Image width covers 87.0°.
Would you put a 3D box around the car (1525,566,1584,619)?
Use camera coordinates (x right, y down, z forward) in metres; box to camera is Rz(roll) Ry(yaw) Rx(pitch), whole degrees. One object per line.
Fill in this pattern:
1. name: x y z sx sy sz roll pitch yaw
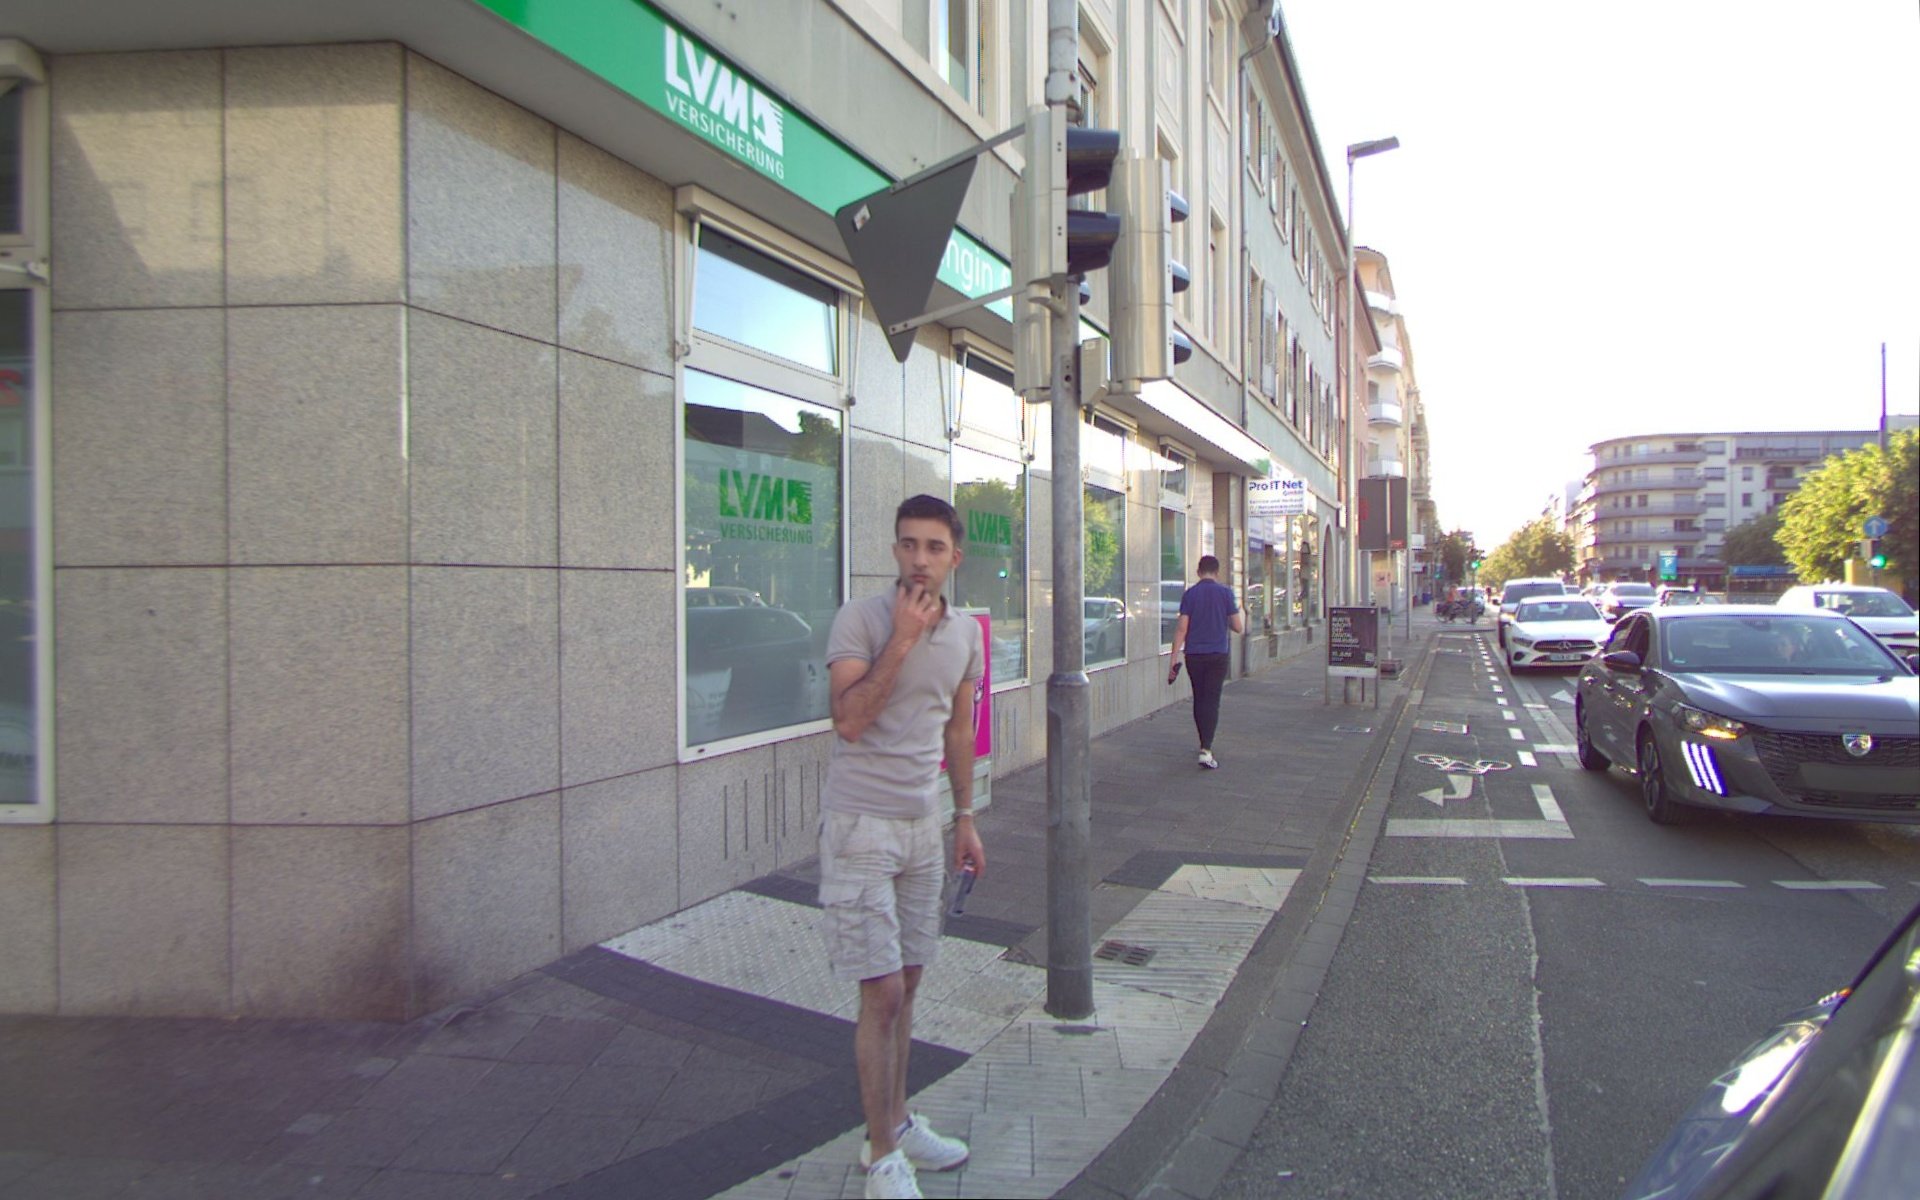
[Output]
1. car: 24.207 -0.336 41.321 1.875 2.039 3.855 0 1 28

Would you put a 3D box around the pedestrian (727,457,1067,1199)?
1. pedestrian: -0.138 0.557 2.700 0.647 1.764 0.688 0 0 26

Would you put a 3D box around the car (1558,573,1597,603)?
1. car: 38.219 -0.783 62.669 1.865 1.794 3.960 0 1 29

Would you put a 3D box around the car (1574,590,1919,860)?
1. car: 5.818 0.676 7.431 1.733 1.461 3.874 -1 0 24

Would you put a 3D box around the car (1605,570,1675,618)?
1. car: 26.825 -0.274 40.028 1.812 1.762 3.947 2 2 28

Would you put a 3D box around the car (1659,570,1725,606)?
1. car: 34.884 -0.570 48.307 1.862 1.623 3.964 0 1 26

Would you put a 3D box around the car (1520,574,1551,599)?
1. car: 43.755 -1.029 76.975 1.864 1.794 3.961 0 1 28

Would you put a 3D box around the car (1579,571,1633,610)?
1. car: 30.773 -0.468 48.302 1.865 1.794 3.960 0 1 29

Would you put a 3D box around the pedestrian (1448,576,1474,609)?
1. pedestrian: 21.027 -0.319 42.483 0.855 1.368 0.554 0 1 39

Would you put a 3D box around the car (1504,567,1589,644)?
1. car: 16.151 0.078 28.040 1.812 1.953 3.947 2 2 28

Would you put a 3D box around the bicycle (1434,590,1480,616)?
1. bicycle: 20.910 0.128 42.598 1.696 1.070 0.554 0 1 39

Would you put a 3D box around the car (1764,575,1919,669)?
1. car: 15.763 0.320 17.871 1.703 1.490 3.947 0 1 28

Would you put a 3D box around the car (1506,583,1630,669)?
1. car: 11.910 0.454 20.044 1.811 1.490 3.947 -1 0 28

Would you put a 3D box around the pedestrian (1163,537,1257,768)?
1. pedestrian: 2.149 0.409 8.635 0.684 1.850 0.874 0 1 20

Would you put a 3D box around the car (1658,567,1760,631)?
1. car: 22.396 -0.085 30.426 1.812 1.762 3.947 2 2 28
